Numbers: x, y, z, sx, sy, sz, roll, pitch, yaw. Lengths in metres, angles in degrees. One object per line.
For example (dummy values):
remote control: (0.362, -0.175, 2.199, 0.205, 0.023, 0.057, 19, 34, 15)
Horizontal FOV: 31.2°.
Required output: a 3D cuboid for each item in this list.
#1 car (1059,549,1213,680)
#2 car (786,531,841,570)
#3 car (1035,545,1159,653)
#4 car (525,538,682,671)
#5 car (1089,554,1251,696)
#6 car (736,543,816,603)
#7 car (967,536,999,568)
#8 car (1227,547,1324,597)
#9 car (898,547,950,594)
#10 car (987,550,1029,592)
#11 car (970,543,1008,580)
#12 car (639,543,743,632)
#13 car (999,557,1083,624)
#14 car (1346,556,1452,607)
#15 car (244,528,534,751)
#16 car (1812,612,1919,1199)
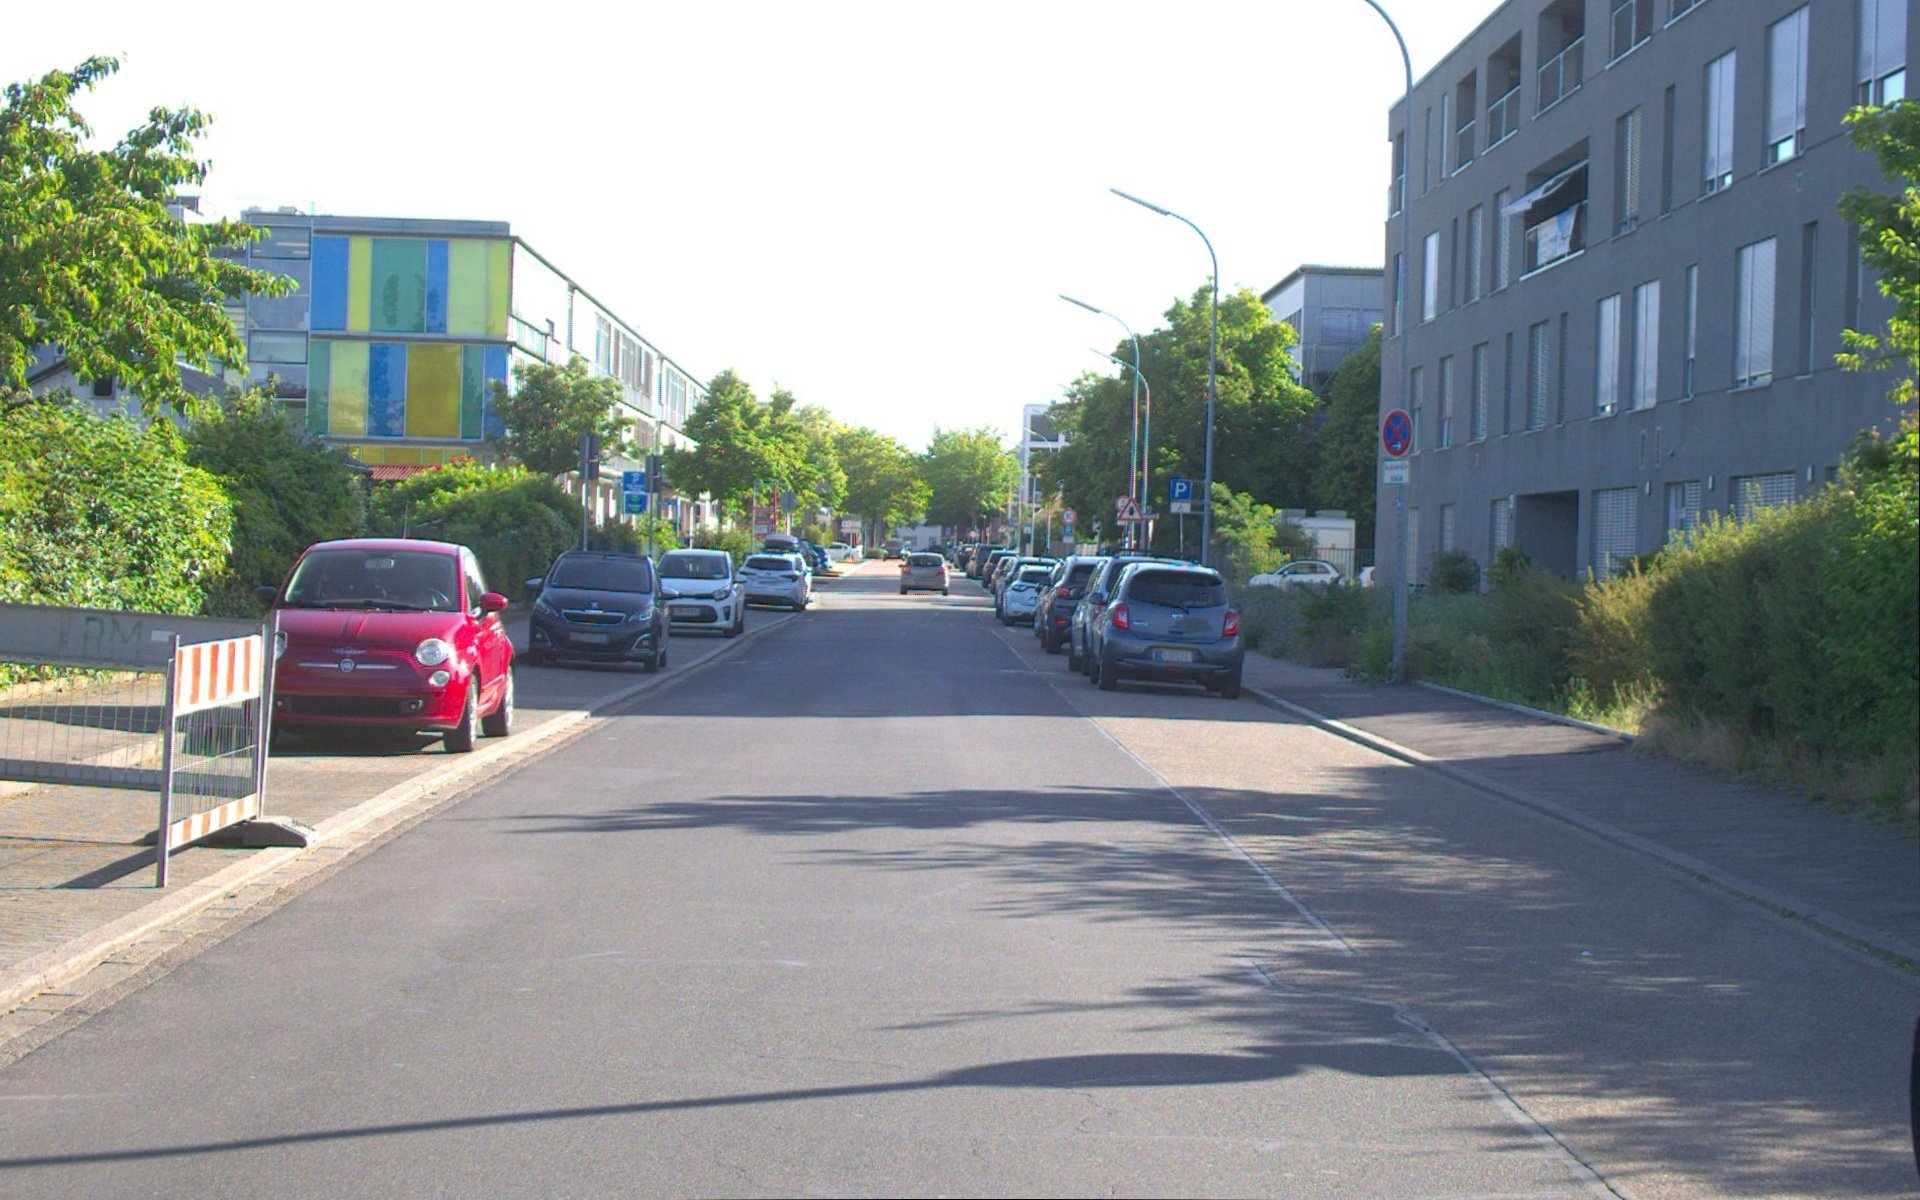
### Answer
car: (2.350, 0.155, 46.914, 1.676, 1.603, 4.179, 4, 1, -2)
car: (-6.357, -2.125, 149.306, 1.855, 1.558, 4.133, 3, 1, 4)
car: (2.235, -0.047, 56.978, 1.741, 1.619, 4.179, 3, 1, -1)
car: (-4.459, 0.031, 43.405, 1.559, 1.489, 3.571, 4, 1, -1)
car: (2.484, 0.267, 41.375, 1.622, 1.521, 3.901, 4, 1, 0)
car: (-4.766, -0.728, 89.720, 1.854, 1.423, 4.134, 3, 1, -1)
car: (1.154, -2.482, 176.947, 1.445, 1.544, 3.614, 3, 1, -2)
car: (10.998, -0.991, 119.869, 3.216, 1.544, 1.450, 3, 1, 2)
car: (-1.289, -1.041, 120.913, 1.689, 1.544, 3.614, 3, 1, -2)
car: (1.887, -1.158, 135.550, 1.445, 1.544, 3.614, 3, 1, -2)
car: (1.260, -1.714, 151.546, 1.445, 1.544, 3.614, 3, 1, -2)
car: (-4.704, -0.243, 60.447, 1.559, 1.489, 3.759, 1, 1, -1)
car: (1.876, -0.240, 80.918, 1.741, 1.423, 4.134, 3, 1, -1)
car: (14.246, -0.599, 111.666, 3.216, 1.455, 1.450, 3, 1, 2)
car: (-4.126, 0.247, 25.290, 1.559, 1.489, 3.571, 1, 1, -1)
car: (2.945, 0.826, 5.552, 1.753, 1.408, 4.657, 4, 1, -2)
